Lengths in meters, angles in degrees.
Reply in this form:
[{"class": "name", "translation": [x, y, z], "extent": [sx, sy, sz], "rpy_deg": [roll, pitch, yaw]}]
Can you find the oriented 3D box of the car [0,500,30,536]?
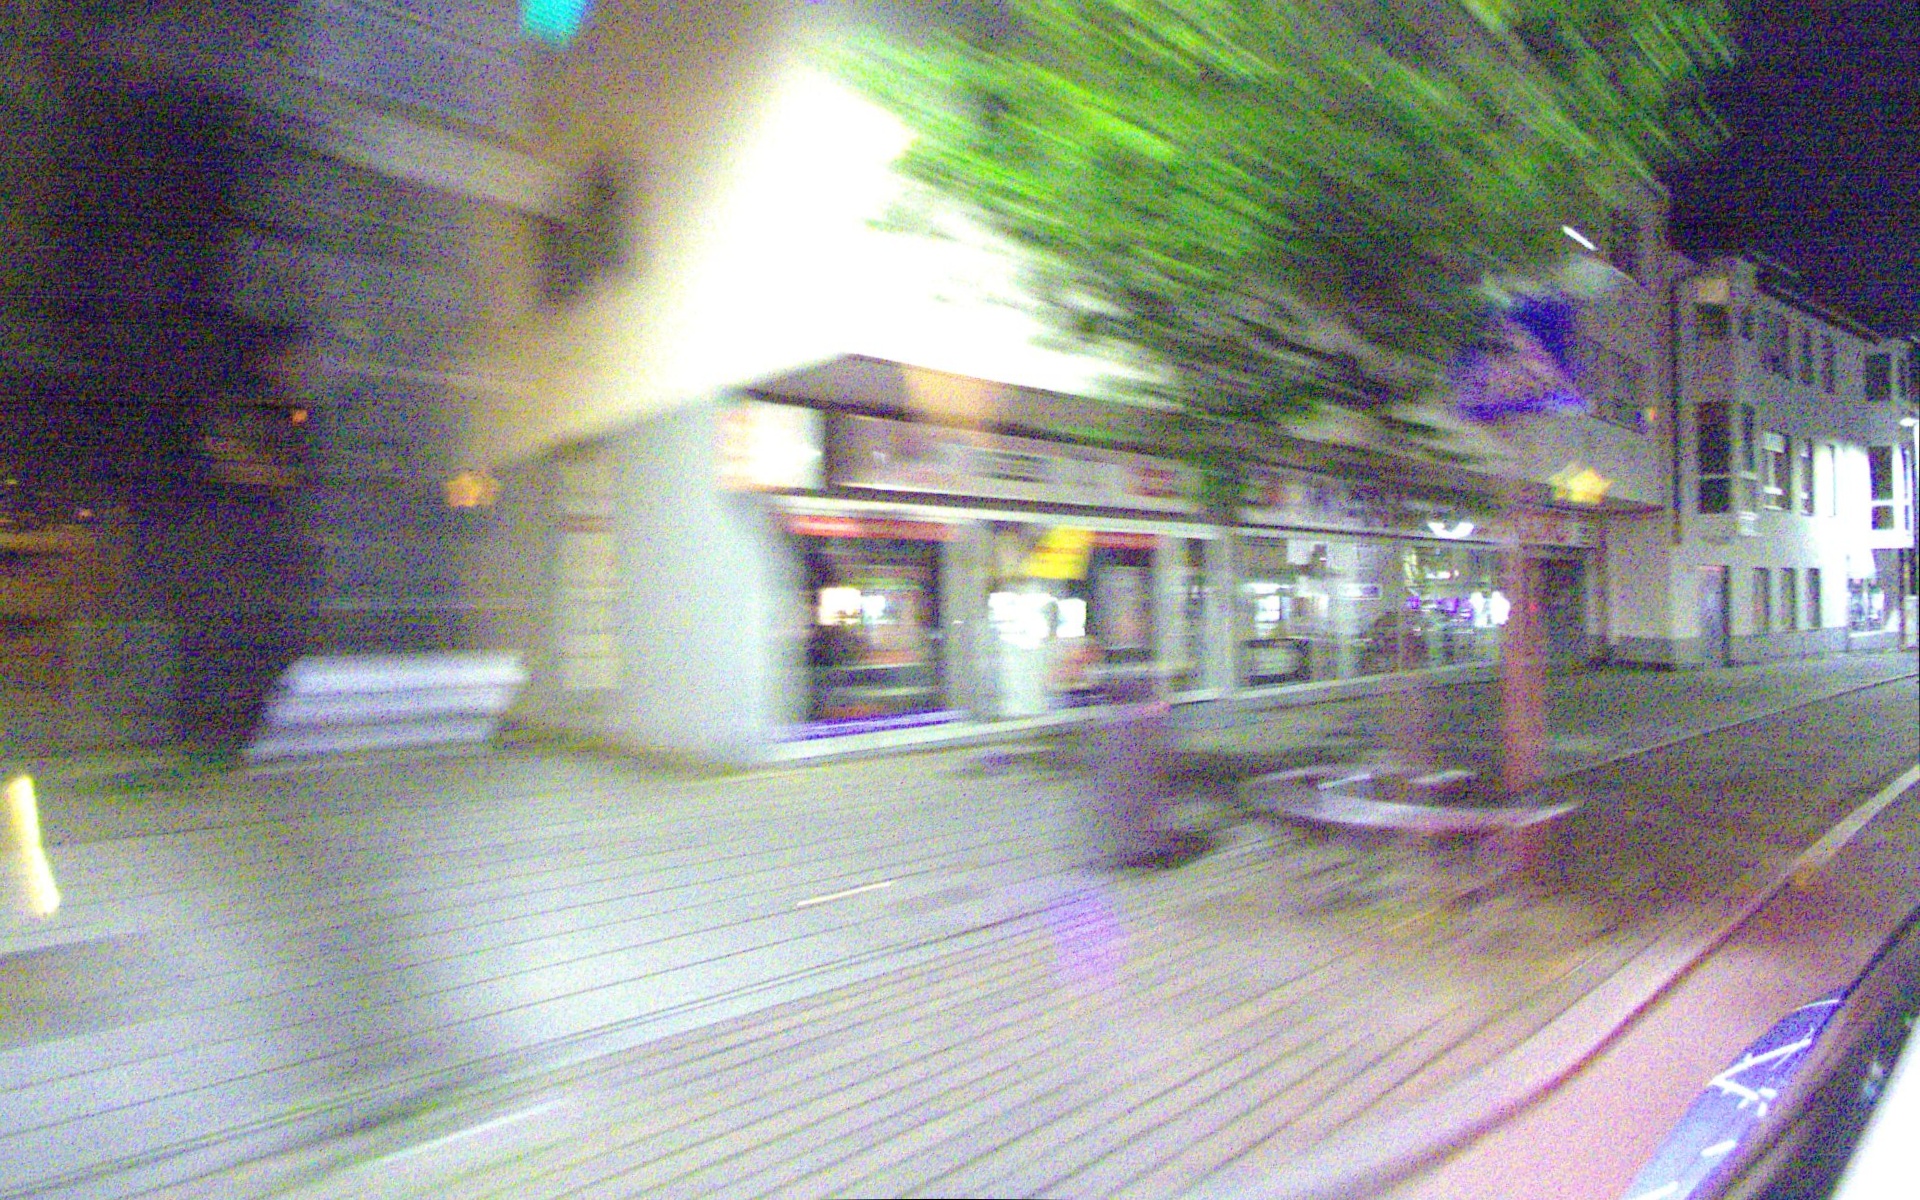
[{"class": "car", "translation": [-42.398, -3.666, 44.757], "extent": [1.762, 1.462, 4.089], "rpy_deg": [1, 4, -42]}]
